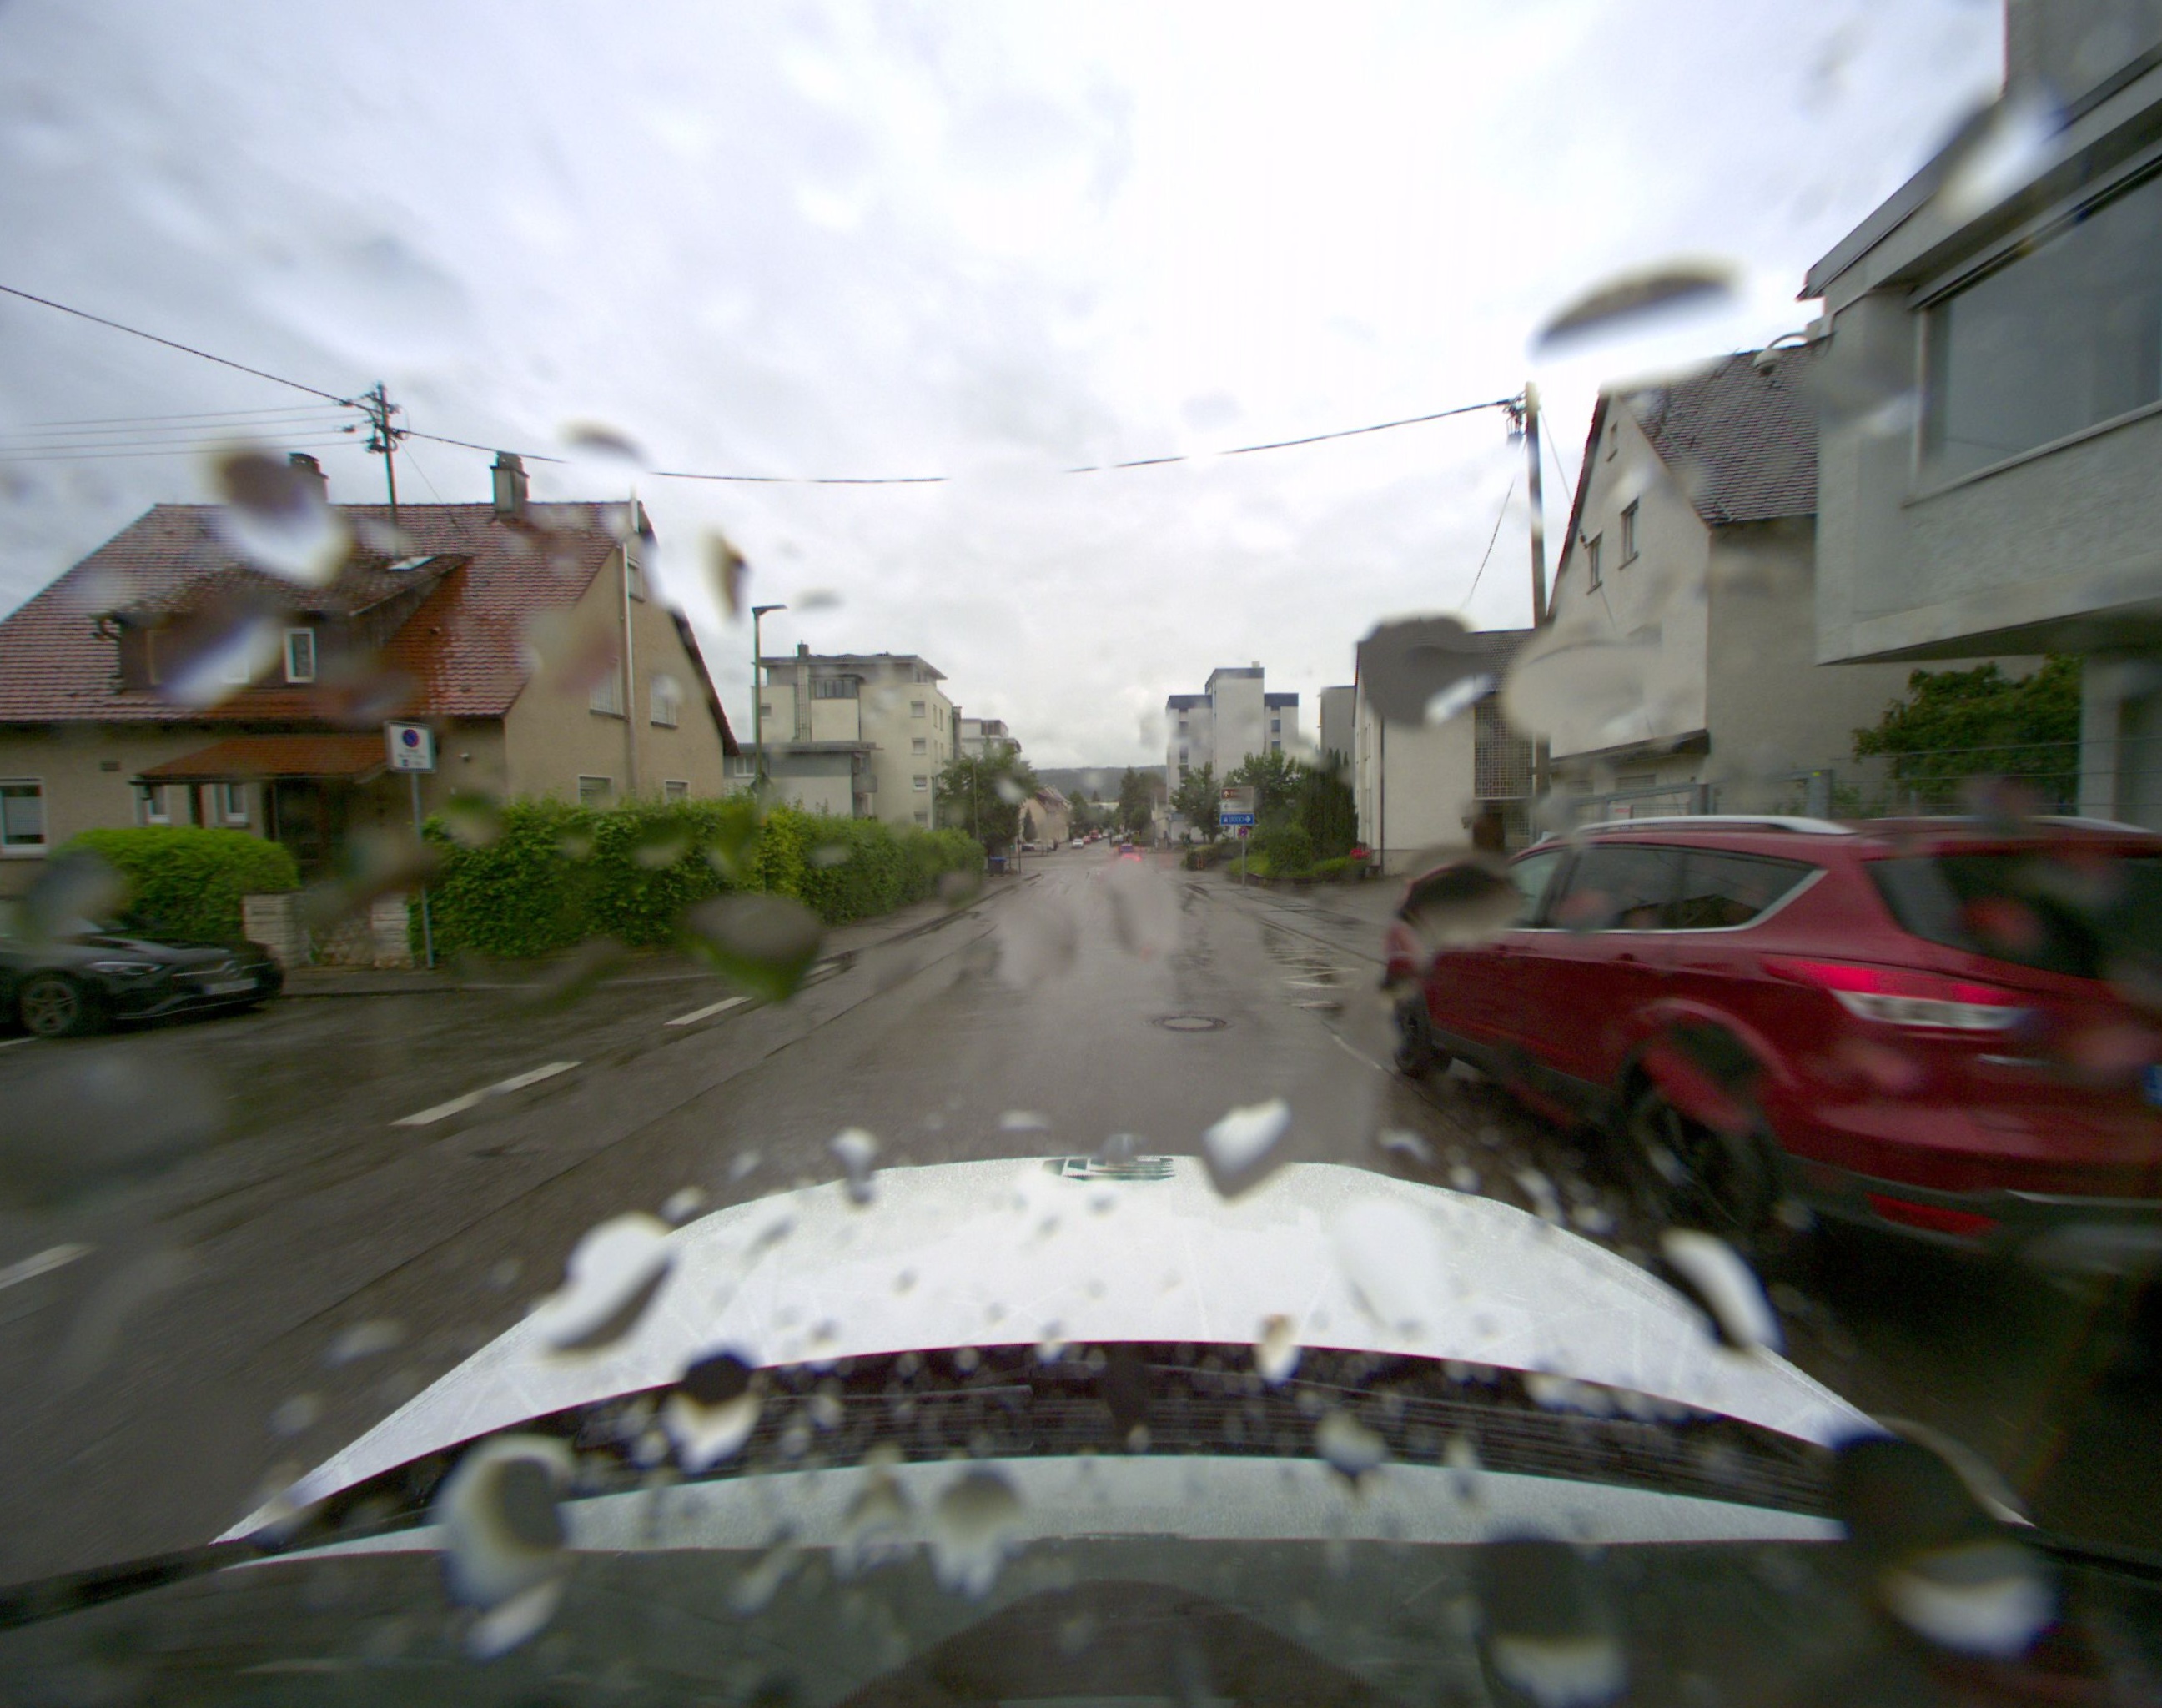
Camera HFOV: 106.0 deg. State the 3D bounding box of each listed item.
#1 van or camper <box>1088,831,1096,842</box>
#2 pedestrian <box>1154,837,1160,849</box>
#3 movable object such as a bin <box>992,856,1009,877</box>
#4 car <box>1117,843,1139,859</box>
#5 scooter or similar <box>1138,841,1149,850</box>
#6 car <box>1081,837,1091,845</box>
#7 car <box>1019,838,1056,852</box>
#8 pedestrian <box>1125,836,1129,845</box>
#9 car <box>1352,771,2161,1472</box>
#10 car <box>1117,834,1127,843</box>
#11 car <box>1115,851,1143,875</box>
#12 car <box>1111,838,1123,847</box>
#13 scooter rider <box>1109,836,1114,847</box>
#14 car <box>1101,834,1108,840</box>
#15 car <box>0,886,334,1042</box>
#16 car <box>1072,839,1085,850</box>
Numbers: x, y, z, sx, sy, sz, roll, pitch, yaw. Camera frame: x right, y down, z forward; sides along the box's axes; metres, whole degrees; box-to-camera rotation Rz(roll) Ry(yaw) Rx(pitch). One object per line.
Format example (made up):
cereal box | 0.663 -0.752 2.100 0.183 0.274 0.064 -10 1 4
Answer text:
van or camper | 2.646 -4.287 194.735 1.894 2.513 4.242 -2 1 2
pedestrian | 10.004 -1.455 107.665 0.646 1.647 0.525 1 0 -5
movable object such as a bin | -5.493 0.845 55.516 1.068 1.347 1.318 0 0 -1
car | 5.376 -0.404 93.463 1.989 1.683 3.996 -2 1 -3
scooter or similar | 8.160 -1.066 106.339 1.265 1.081 0.876 -2 1 -3
car | 1.001 -2.665 172.300 1.894 1.558 4.194 -2 1 2
car | -6.175 -1.267 115.681 4.867 1.835 1.978 -3 2 -37
pedestrian | 8.813 -2.558 154.881 0.742 1.848 0.526 -2 0 3
car | 3.211 0.613 4.388 1.986 1.644 4.960 -1 0 2
car | 8.621 -3.276 171.291 1.894 1.745 4.194 -2 1 2
car | 3.825 0.702 65.507 1.987 1.683 4.000 -2 1 0
car | 6.645 -2.080 149.066 2.138 1.589 4.131 -2 1 2
scooter rider | 5.332 -2.225 142.280 0.753 1.795 0.670 -3 1 -12
car | 6.496 -4.751 222.456 1.894 1.558 4.194 -2 1 2
car | -11.375 1.162 8.943 4.565 1.398 1.895 -2 0 1
car | -0.408 -1.618 135.850 1.986 1.625 4.194 -2 1 2
